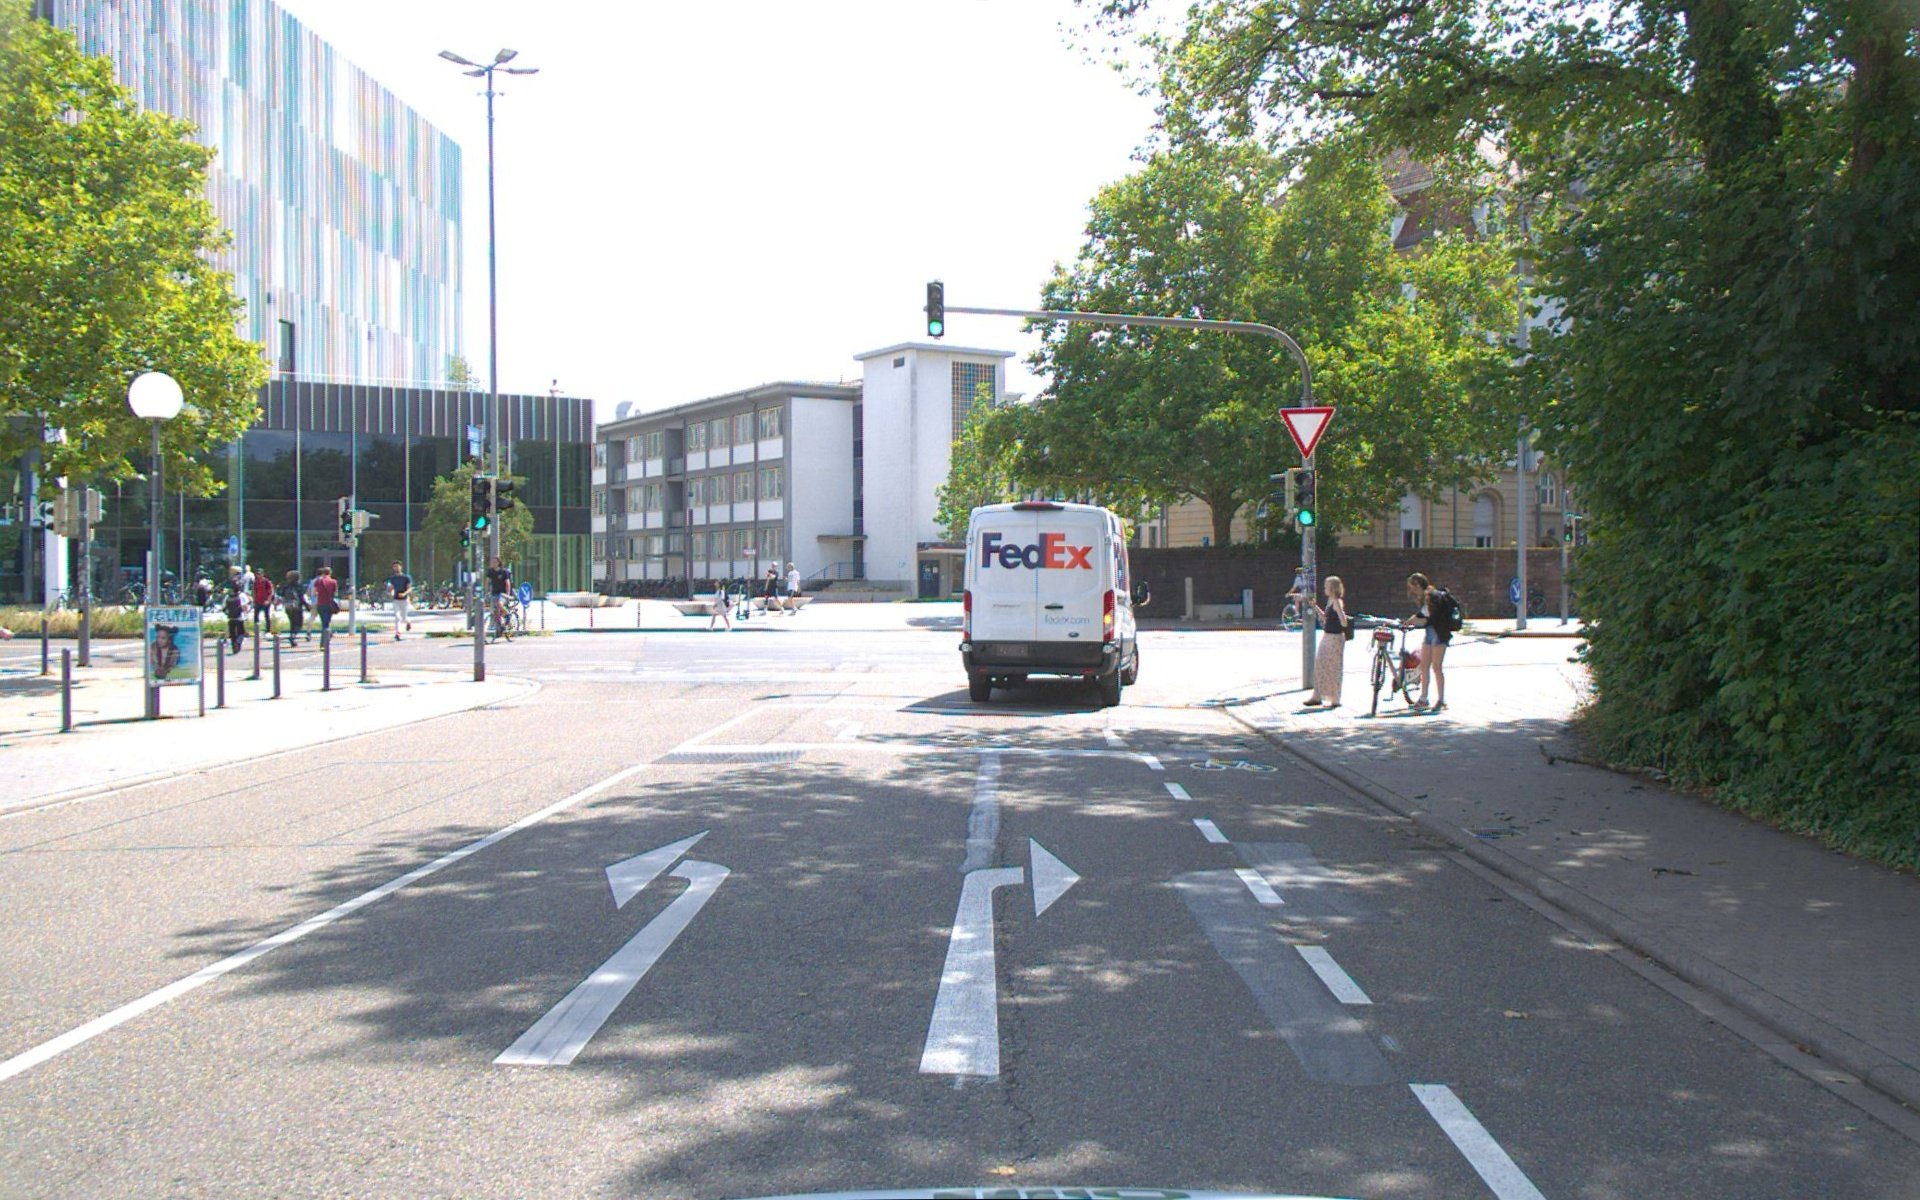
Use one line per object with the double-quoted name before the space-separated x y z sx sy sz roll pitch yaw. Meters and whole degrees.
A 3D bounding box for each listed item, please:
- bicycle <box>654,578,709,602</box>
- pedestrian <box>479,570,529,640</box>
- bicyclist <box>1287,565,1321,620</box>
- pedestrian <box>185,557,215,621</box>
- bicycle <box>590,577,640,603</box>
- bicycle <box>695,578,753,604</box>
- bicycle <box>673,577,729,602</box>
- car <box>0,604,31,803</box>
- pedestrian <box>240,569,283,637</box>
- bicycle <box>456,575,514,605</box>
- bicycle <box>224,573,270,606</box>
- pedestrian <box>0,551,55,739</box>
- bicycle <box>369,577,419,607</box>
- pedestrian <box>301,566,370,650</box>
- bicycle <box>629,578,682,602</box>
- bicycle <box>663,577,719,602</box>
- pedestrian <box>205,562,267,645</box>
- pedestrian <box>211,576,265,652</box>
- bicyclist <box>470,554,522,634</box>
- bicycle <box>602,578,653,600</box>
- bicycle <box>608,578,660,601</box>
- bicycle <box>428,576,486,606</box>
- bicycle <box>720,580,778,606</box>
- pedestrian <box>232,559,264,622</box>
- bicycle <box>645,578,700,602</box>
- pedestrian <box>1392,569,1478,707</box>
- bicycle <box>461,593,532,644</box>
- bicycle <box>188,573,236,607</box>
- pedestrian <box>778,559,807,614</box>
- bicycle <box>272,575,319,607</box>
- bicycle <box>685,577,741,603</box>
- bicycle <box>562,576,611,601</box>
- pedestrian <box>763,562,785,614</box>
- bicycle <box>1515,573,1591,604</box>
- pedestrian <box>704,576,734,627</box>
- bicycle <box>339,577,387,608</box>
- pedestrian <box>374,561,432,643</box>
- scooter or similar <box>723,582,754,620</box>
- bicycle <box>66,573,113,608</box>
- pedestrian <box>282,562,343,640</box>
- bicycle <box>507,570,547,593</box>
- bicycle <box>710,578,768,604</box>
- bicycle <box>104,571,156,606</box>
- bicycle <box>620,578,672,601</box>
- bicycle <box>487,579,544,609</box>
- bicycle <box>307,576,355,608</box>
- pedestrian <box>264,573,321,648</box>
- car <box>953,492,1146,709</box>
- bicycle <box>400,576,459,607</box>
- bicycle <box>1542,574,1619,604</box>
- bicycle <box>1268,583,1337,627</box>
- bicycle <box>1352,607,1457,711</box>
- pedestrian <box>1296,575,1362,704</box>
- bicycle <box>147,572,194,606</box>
"bicycle" -15.968 -0.571 94.823 2.933 1.387 1.103 0 0 -36
"pedestrian" -12.525 0.137 45.467 0.813 1.903 1.084 0 1 25
"bicyclist" 9.259 -0.203 44.532 0.509 1.477 0.779 0 0 -30
"pedestrian" -31.291 -0.465 68.121 0.964 2.609 1.002 0 0 -35
"bicycle" -21.575 -0.646 103.493 2.933 1.602 1.103 0 0 -36
"bicycle" -12.912 -0.505 90.457 2.933 1.387 1.259 0 0 -36
"bicycle" -14.494 -0.574 92.675 2.933 1.387 1.103 0 0 -36
"car" -7.772 0.746 9.884 1.642 1.419 4.664 2 1 2
"pedestrian" -17.742 0.071 42.040 0.738 1.707 0.755 -1 1 1
"bicycle" -20.411 -0.437 70.989 1.191 1.259 2.904 0 0 -44
"bicycle" -28.067 -0.409 65.101 1.186 1.259 2.917 0 0 -33
"pedestrian" -9.952 0.442 16.921 0.704 1.883 1.089 1 1 5
"bicycle" -23.569 -0.340 68.829 1.187 1.259 2.914 0 0 -35
"pedestrian" -13.943 0.161 36.950 0.789 1.839 1.268 0 1 18
"bicycle" -18.008 -0.607 97.795 2.933 1.387 1.103 0 0 -36
"bicycle" -15.241 -0.586 93.751 2.933 1.387 1.103 0 0 -36
"pedestrian" -16.855 0.079 38.493 0.835 1.909 1.006 0 1 24
"pedestrian" -15.656 0.304 35.876 0.754 1.625 0.799 -1 1 3
"bicyclist" -10.840 -0.151 38.668 0.772 1.849 1.000 0 1 11
"bicycle" -20.574 -0.679 102.365 2.933 1.387 1.103 0 0 -36
"bicycle" -19.916 -0.665 101.170 2.933 1.387 1.103 0 0 -36
"bicycle" -21.393 -0.391 70.290 1.191 1.259 2.904 0 0 -44
"bicycle" -11.222 -0.365 88.052 2.933 1.387 1.103 0 0 -36
"pedestrian" -29.501 -0.402 68.528 0.967 2.609 0.999 0 0 -41
"bicycle" -16.655 -0.580 95.864 2.933 1.387 1.103 0 0 -36
"pedestrian" 5.691 0.453 19.791 0.712 1.603 0.730 -3 -1 37
"bicycle" -10.833 0.422 38.724 0.754 1.142 2.028 0 1 11
"bicycle" -29.102 -0.397 64.332 1.187 1.259 2.915 0 0 -35
"pedestrian" -5.961 -0.492 58.781 0.852 1.922 0.908 0 0 -18
"bicycle" -26.793 -0.386 66.655 1.187 1.259 2.915 0 0 -35
"bicycle" -13.645 -0.552 91.491 2.933 1.387 1.103 0 0 -36
"bicycle" -24.411 -0.743 108.074 2.933 1.602 1.103 0 0 -36
"pedestrian" -6.699 -0.444 59.491 0.658 1.846 0.812 0 0 -18
"bicycle" 20.053 -0.382 55.957 2.333 1.011 0.754 -1 1 -2
"pedestrian" -7.409 0.033 50.847 0.812 1.550 0.811 0 0 -18
"bicycle" -24.612 -0.320 68.165 1.187 1.259 2.915 0 0 -35
"pedestrian" -13.336 0.031 39.629 0.687 1.887 1.400 0 2 11
"scooter or similar" -7.463 0.018 55.635 0.704 1.198 2.715 0 1 -15
"bicycle" -32.503 -0.357 61.734 1.187 1.259 2.915 0 0 -35
"pedestrian" -15.754 0.014 40.268 0.844 1.850 1.095 0 1 25
"bicycle" -31.616 -1.352 120.905 1.094 1.602 2.961 1 0 28
"bicycle" -11.919 -0.487 89.169 2.933 1.387 1.103 0 0 -36
"bicycle" -31.378 -0.441 62.520 1.362 1.259 2.915 0 0 -35
"bicycle" -18.850 -0.626 99.300 2.933 1.387 1.103 0 0 -36
"bicycle" -19.281 -0.283 71.695 1.191 1.259 2.904 0 0 -44
"bicycle" -25.639 -0.345 67.412 1.187 1.259 2.915 0 0 -35
"pedestrian" -15.331 0.236 38.003 0.808 1.683 0.862 0 1 20
"car" 1.405 -0.038 23.125 2.050 2.611 5.607 1 1 9
"bicycle" -22.269 -0.351 69.397 1.191 1.259 2.904 0 0 -44
"bicycle" 20.998 -0.374 55.987 2.333 1.011 0.696 -1 1 -2
"bicycle" 9.218 0.124 44.644 0.544 1.150 2.152 0 1 -30
"bicycle" 5.354 0.692 19.857 0.582 1.146 1.736 -3 -1 36
"pedestrian" 4.687 0.490 21.023 0.715 1.603 0.776 -1 0 6
"bicycle" -30.218 -0.434 63.298 1.187 1.259 2.915 0 0 -35
